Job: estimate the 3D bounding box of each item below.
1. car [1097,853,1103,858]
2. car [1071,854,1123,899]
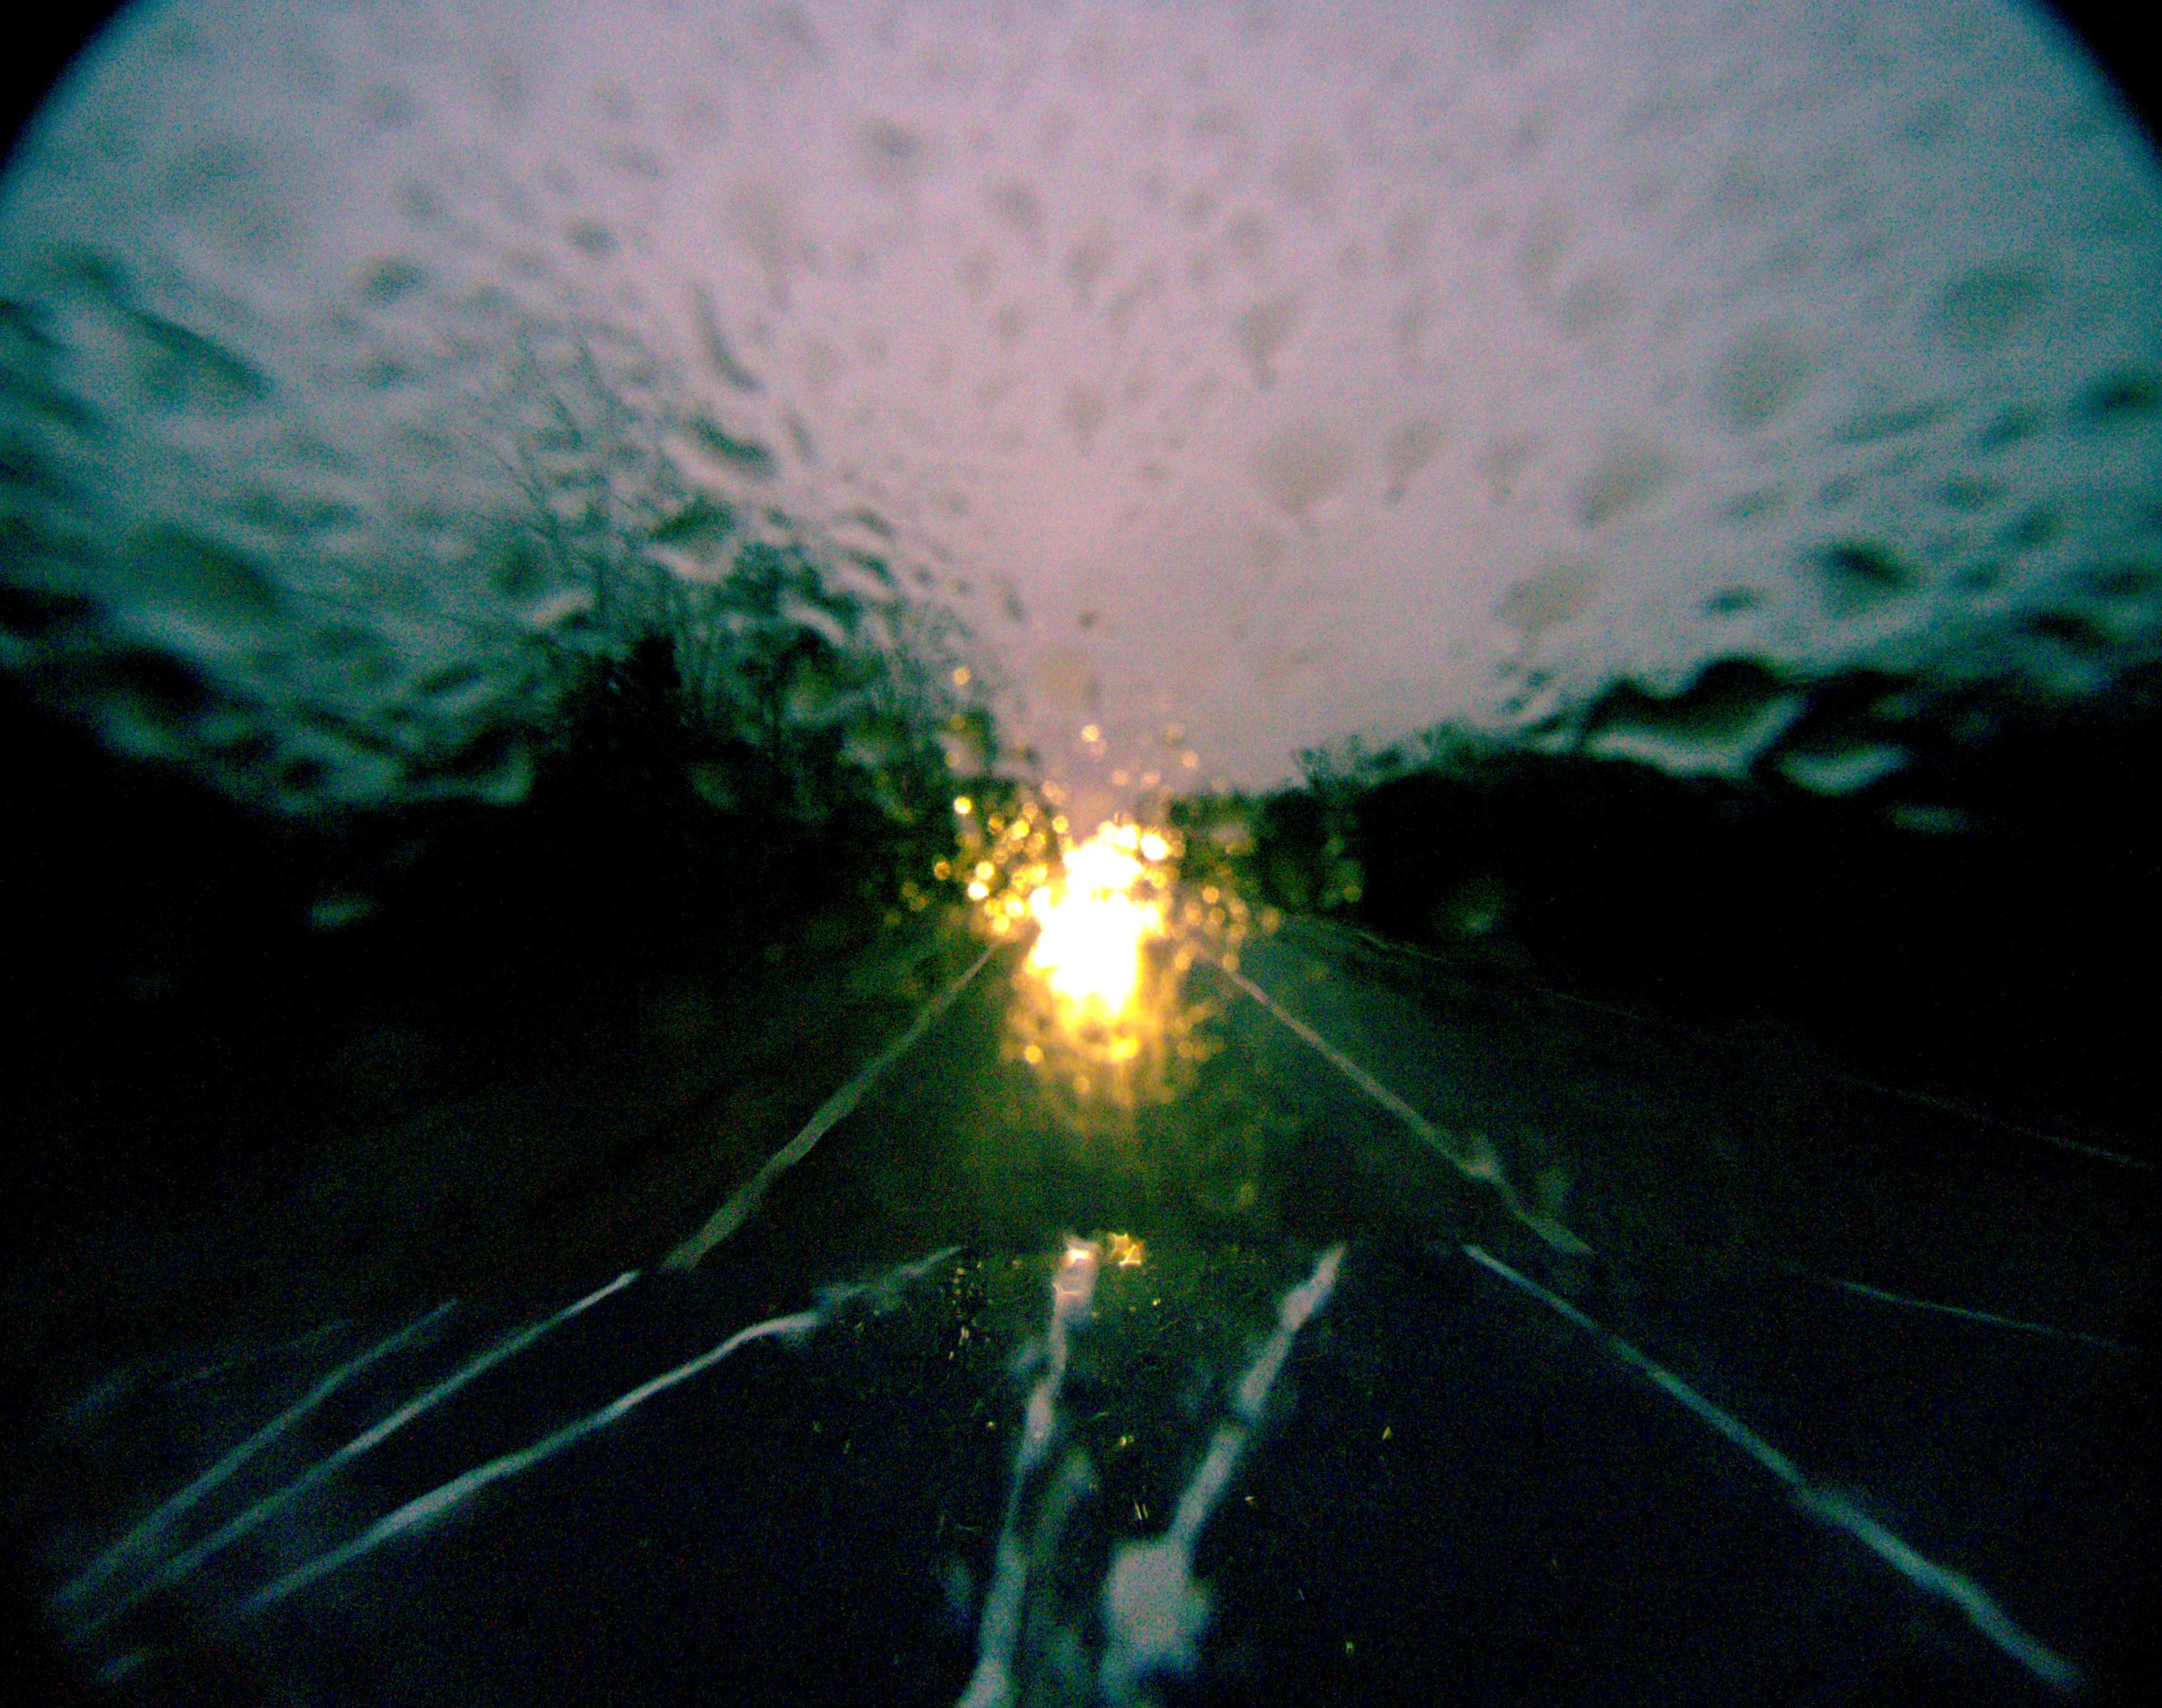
[{"bbox_3d":[5.914,0.449,237.164,1.809,1.478,4.000,1,0,0],"label":"car"},{"bbox_3d":[0.602,0.809,29.404,1.860,1.604,4.000,-1,0,1],"label":"car"}]
